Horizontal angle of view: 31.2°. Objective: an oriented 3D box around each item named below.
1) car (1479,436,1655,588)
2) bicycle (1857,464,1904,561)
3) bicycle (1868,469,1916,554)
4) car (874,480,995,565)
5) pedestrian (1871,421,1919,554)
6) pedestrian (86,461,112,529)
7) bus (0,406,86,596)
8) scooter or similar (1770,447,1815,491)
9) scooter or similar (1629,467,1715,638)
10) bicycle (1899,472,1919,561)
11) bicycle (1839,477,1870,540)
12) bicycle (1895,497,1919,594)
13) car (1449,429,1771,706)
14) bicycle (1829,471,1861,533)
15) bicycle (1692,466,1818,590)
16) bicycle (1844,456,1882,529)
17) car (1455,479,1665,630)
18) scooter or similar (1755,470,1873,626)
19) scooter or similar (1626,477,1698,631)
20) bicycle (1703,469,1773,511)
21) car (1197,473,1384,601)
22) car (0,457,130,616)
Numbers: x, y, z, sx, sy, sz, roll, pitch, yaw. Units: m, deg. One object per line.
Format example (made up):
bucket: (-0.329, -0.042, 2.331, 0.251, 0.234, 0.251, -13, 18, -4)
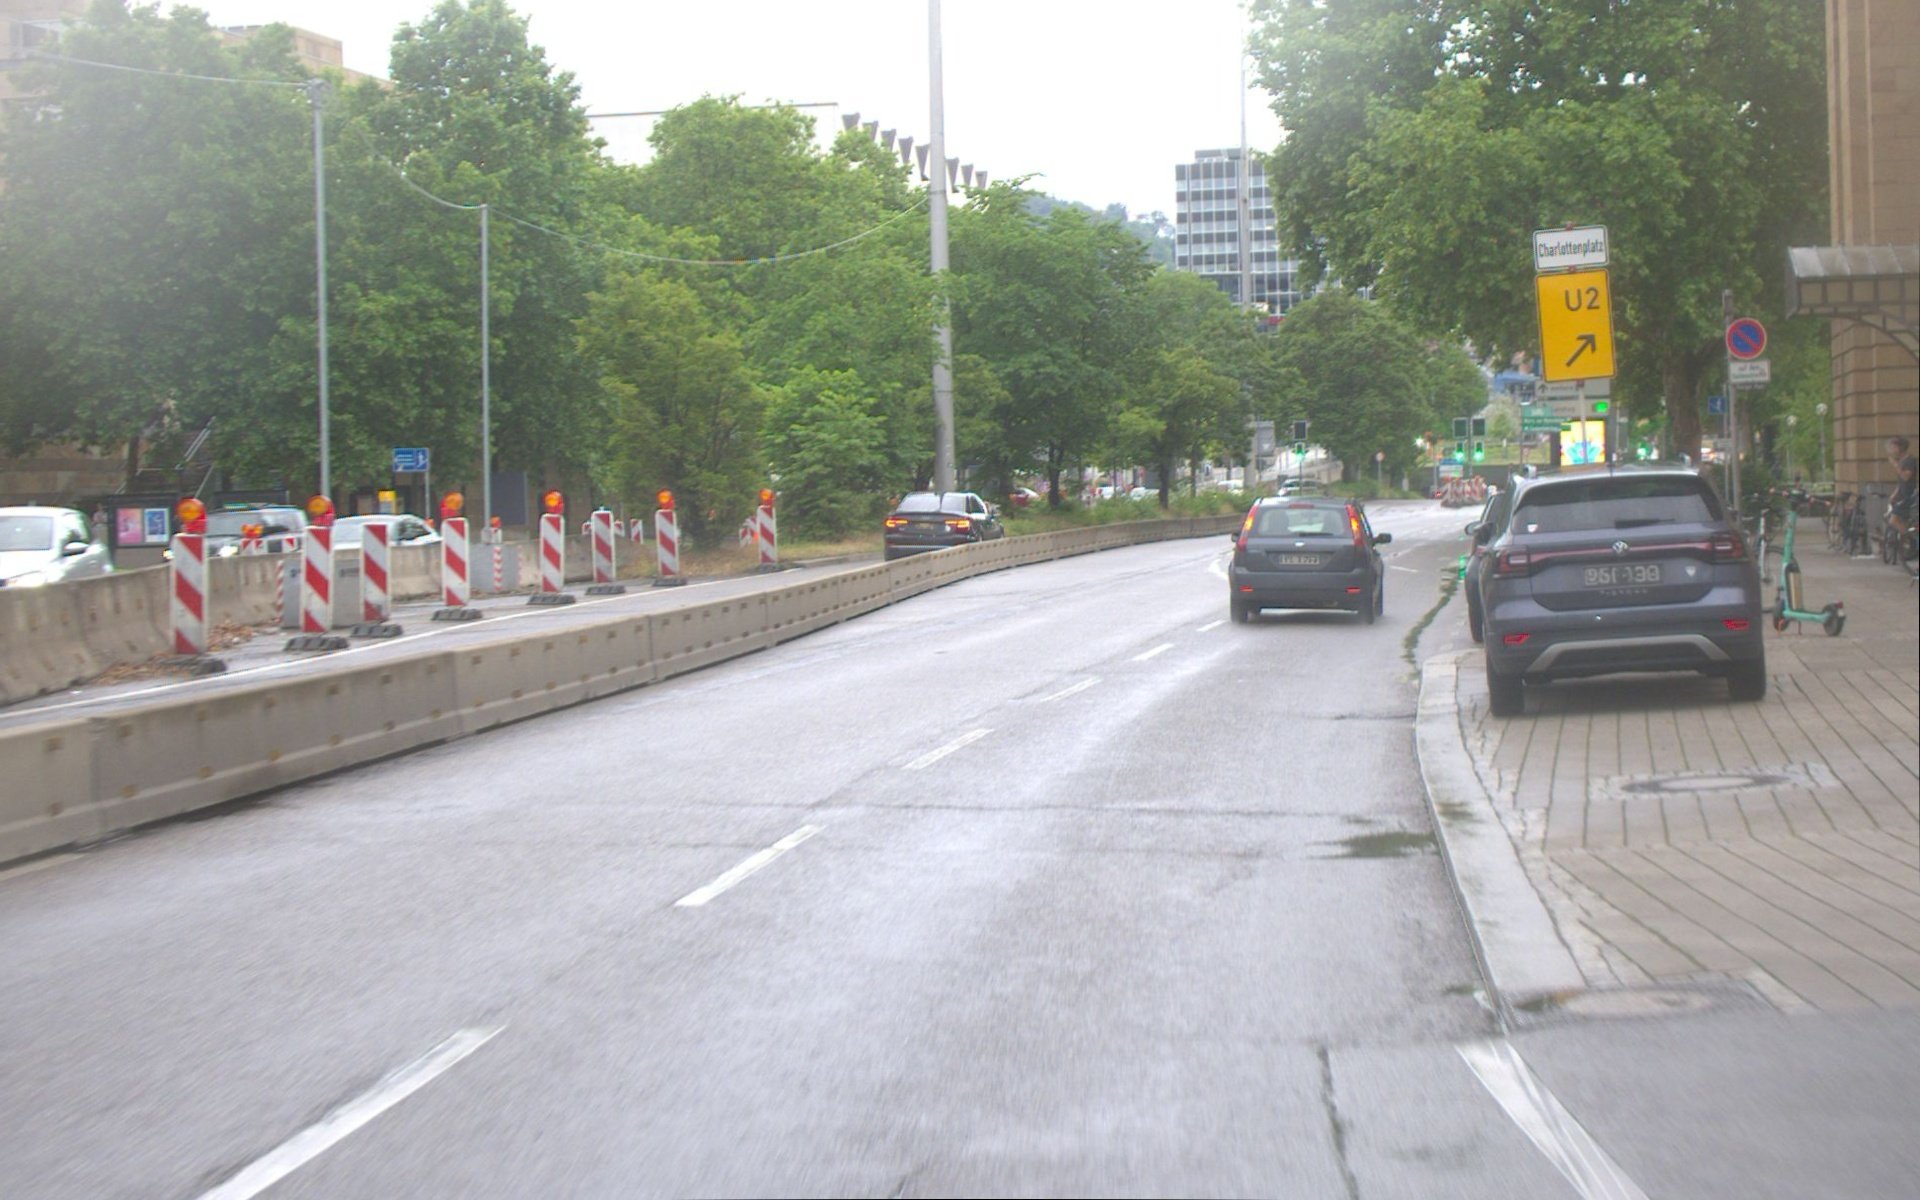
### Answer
car: (7.625, -1.113, 42.927, 1.994, 1.775, 4.186, 0, 2, 12)
bicycle: (14.584, -1.397, 54.498, 0.453, 1.510, 1.600, 1, 2, 6)
bicycle: (13.572, -1.291, 50.094, 0.464, 1.211, 1.691, -1, 2, 8)
car: (-0.445, -1.472, 64.842, 1.754, 1.446, 3.999, -3, 1, 6)
pedestrian: (13.008, -1.549, 47.238, 0.795, 1.771, 0.642, -4, 1, 10)
pedestrian: (-25.546, -3.113, 101.982, 0.478, 2.007, 0.512, -3, 1, 11)
bus: (-21.464, -1.834, 65.429, 2.806, 3.797, 14.590, 1, 3, 14)
scooter or similar: (24.810, -3.900, 102.491, 0.541, 1.251, 1.438, -3, 2, -21)
scooter or similar: (5.617, -0.386, 27.147, 0.433, 1.315, 1.077, -1, 2, -1)
bicycle: (11.480, -1.000, 40.831, 0.584, 1.034, 1.758, 0, 2, 14)
bicycle: (15.526, -1.591, 59.700, 0.352, 1.076, 1.789, 0, 2, 9)
bicycle: (10.869, -0.613, 38.049, 0.712, 1.048, 1.740, -1, 2, 5)
car: (4.301, -0.291, 23.055, 1.872, 1.613, 4.403, -2, 2, 10)
bicycle: (15.769, -1.743, 61.295, 0.352, 1.076, 1.789, -3, 1, 9)
bicycle: (8.187, -0.753, 35.479, 0.775, 1.214, 1.966, -3, 2, -1)
bicycle: (15.852, -1.898, 60.381, 0.453, 1.246, 1.599, 1, 2, 9)
car: (5.970, -0.475, 33.974, 1.760, 1.409, 3.150, 0, 2, 15)
scooter or similar: (7.242, -0.452, 29.197, 0.433, 1.288, 1.258, -1, 2, -14)
scooter or similar: (5.744, -0.388, 28.142, 0.433, 1.212, 1.122, -3, 1, 7)
bicycle: (19.075, -2.700, 84.294, 1.642, 1.016, 0.574, 1, 2, 15)
car: (3.797, -0.738, 40.037, 1.844, 1.411, 3.839, 0, 1, 0)
car: (-10.082, -0.672, 35.232, 1.994, 1.524, 4.000, -1, 2, 3)
